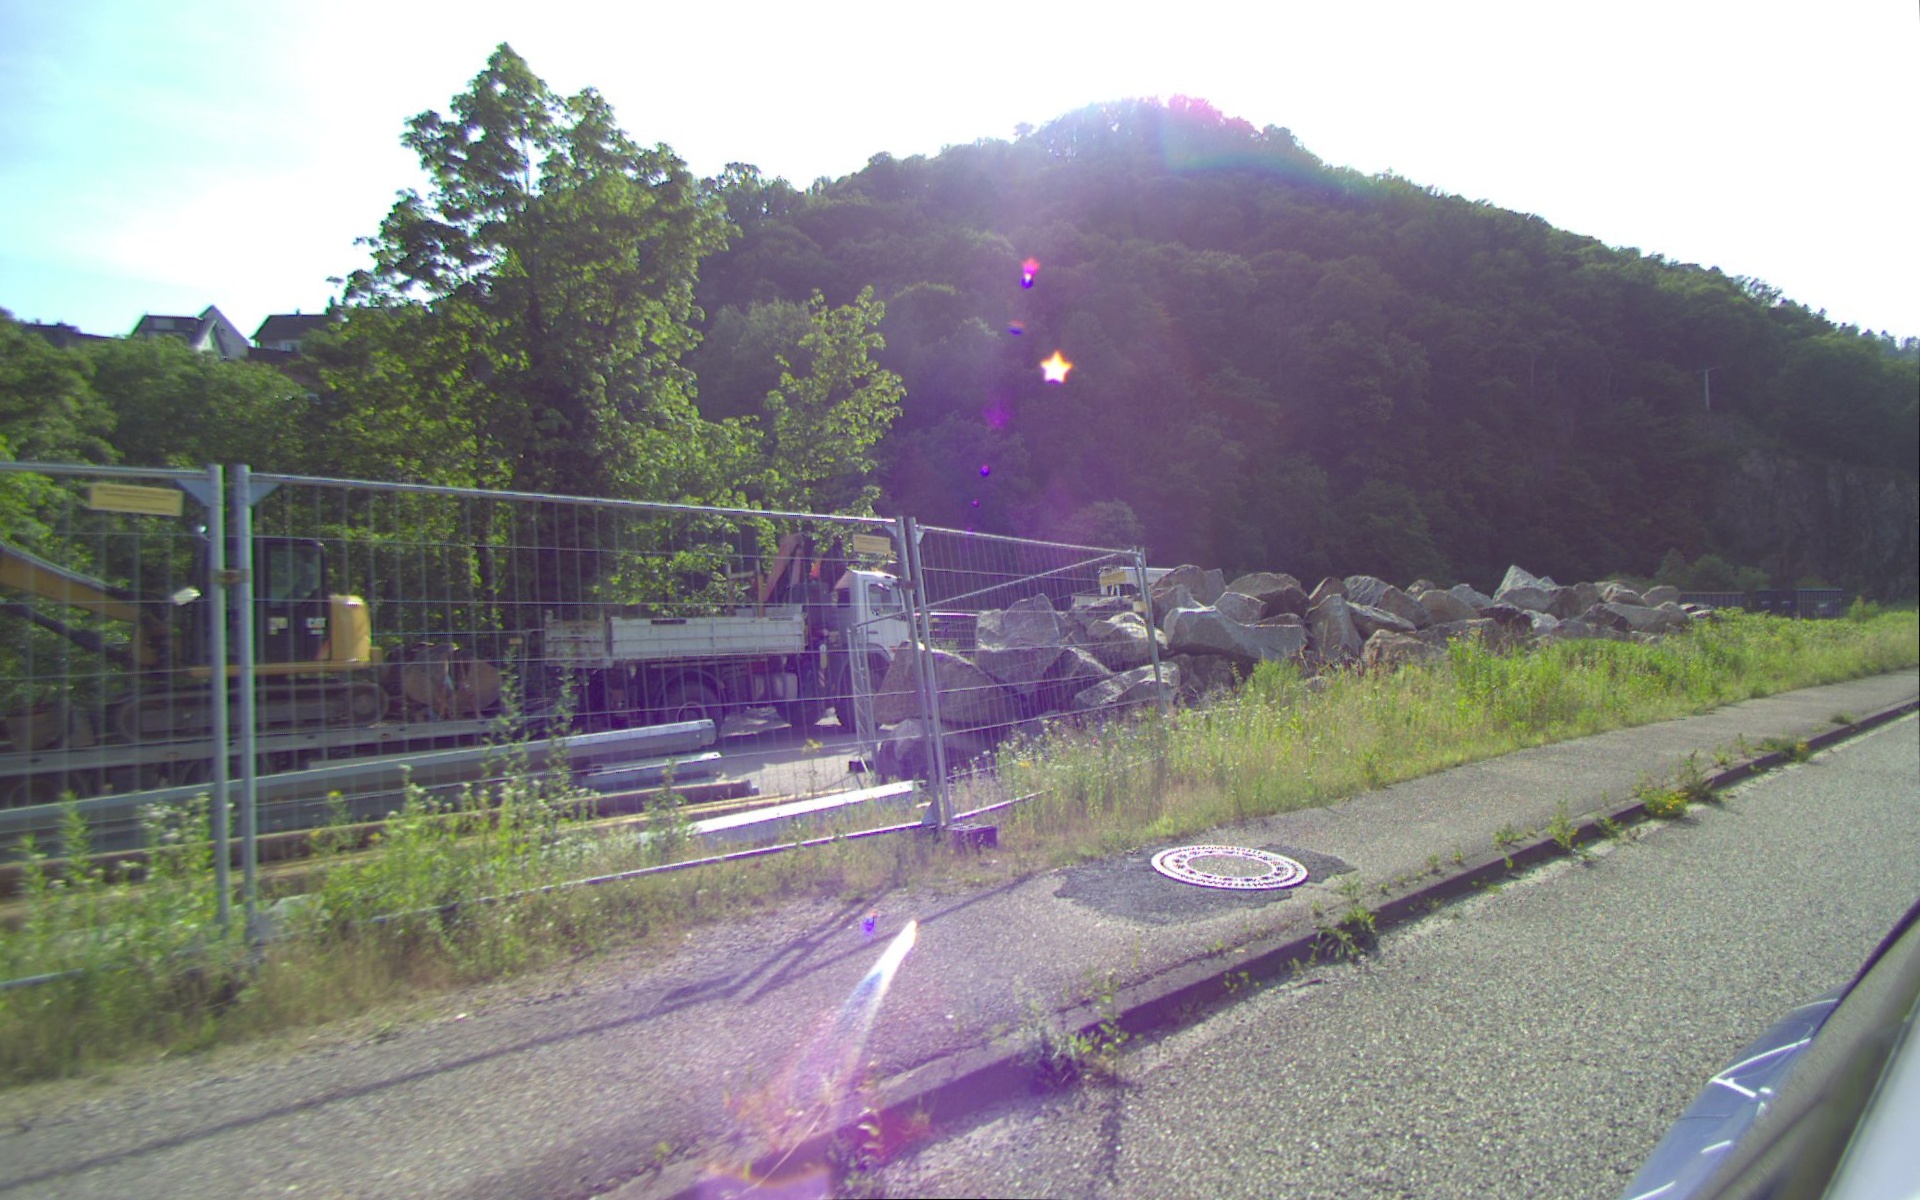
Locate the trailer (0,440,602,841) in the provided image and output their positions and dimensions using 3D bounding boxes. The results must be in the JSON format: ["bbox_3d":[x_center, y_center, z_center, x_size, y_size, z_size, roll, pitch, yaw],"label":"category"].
[{"bbox_3d":[-10.204,0.459,13.425,9.746,4.329,3.366,-1,-2,-44],"label":"trailer"}]

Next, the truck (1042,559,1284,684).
[{"bbox_3d":[7.095,0.689,34.757,8.481,3.831,3.112,0,-2,-36],"label":"truck"}]

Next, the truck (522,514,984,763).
[{"bbox_3d":[-3.625,0.644,19.712,8.502,3.831,3.104,0,-2,-44],"label":"truck"}]
